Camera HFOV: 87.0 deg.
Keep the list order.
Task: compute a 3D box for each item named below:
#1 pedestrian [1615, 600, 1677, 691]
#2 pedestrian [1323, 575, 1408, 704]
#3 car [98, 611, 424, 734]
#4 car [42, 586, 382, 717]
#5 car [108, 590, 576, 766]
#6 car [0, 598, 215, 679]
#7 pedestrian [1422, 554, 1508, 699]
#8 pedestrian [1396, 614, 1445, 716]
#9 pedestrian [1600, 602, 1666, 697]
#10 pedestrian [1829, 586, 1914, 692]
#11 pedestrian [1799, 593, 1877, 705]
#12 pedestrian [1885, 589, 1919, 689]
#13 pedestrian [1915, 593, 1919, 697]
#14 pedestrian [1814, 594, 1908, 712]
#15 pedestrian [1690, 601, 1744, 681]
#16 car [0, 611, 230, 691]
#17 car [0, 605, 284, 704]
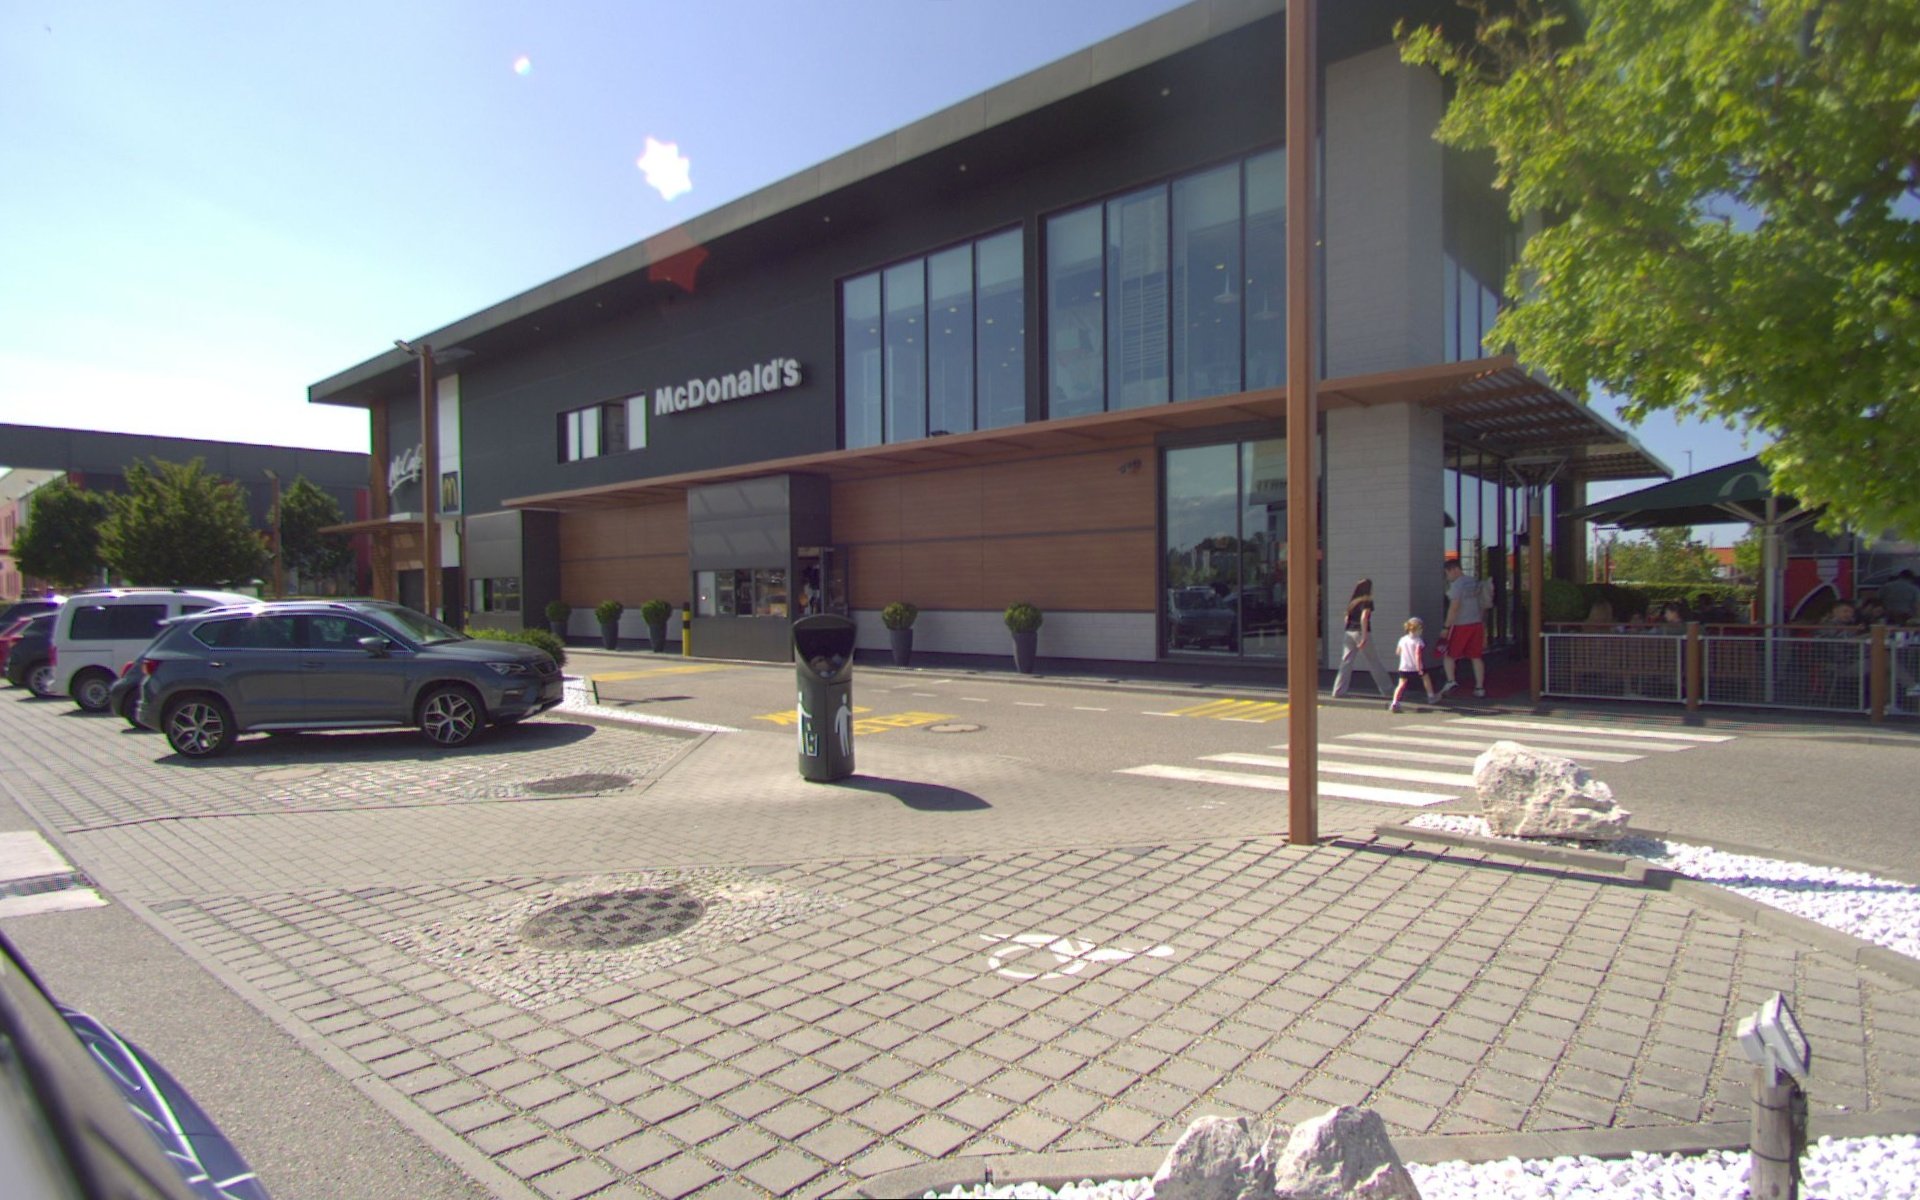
[{"bbox_3d":[8.843,0.577,13.044,0.633,1.132,0.518,-1,0,37],"label":"pedestrian"},{"bbox_3d":[5.218,0.489,13.034,0.717,1.596,0.743,0,0,-39],"label":"pedestrian"},{"bbox_3d":[-9.505,0.944,14.012,3.359,1.493,1.572,-1,0,-11],"label":"car"},{"bbox_3d":[-11.886,0.761,16.356,4.078,1.936,1.762,0,0,-9],"label":"car"},{"bbox_3d":[-6.843,0.807,11.611,4.164,1.615,1.793,-3,2,-4],"label":"car"},{"bbox_3d":[-19.933,0.841,23.513,3.969,1.718,1.680,-1,1,-27],"label":"car"},{"bbox_3d":[6.473,0.329,12.964,0.894,1.781,0.794,-1,0,32],"label":"pedestrian"},{"bbox_3d":[5.559,0.771,12.215,0.447,1.195,0.486,-1,0,35],"label":"pedestrian"},{"bbox_3d":[8.292,0.598,12.471,0.633,1.132,0.518,-1,0,37],"label":"pedestrian"},{"bbox_3d":[11.259,0.473,12.522,0.714,1.267,0.518,-1,0,37],"label":"pedestrian"},{"bbox_3d":[10.278,0.553,11.862,0.633,1.267,0.518,-1,0,37],"label":"pedestrian"},{"bbox_3d":[12.448,0.488,13.021,0.728,1.267,0.566,-1,0,36],"label":"pedestrian"},{"bbox_3d":[11.938,0.546,12.054,0.728,1.267,0.566,-1,0,36],"label":"pedestrian"},{"bbox_3d":[10.019,0.573,11.276,0.714,1.267,0.518,-1,0,37],"label":"pedestrian"},{"bbox_3d":[10.795,0.572,14.435,0.573,1.109,0.648,-1,0,40],"label":"pedestrian"},{"bbox_3d":[-17.649,1.011,21.030,3.707,1.455,1.680,-1,0,-21],"label":"car"},{"bbox_3d":[-14.939,0.943,18.627,3.779,1.644,1.763,0,0,-15],"label":"car"}]
